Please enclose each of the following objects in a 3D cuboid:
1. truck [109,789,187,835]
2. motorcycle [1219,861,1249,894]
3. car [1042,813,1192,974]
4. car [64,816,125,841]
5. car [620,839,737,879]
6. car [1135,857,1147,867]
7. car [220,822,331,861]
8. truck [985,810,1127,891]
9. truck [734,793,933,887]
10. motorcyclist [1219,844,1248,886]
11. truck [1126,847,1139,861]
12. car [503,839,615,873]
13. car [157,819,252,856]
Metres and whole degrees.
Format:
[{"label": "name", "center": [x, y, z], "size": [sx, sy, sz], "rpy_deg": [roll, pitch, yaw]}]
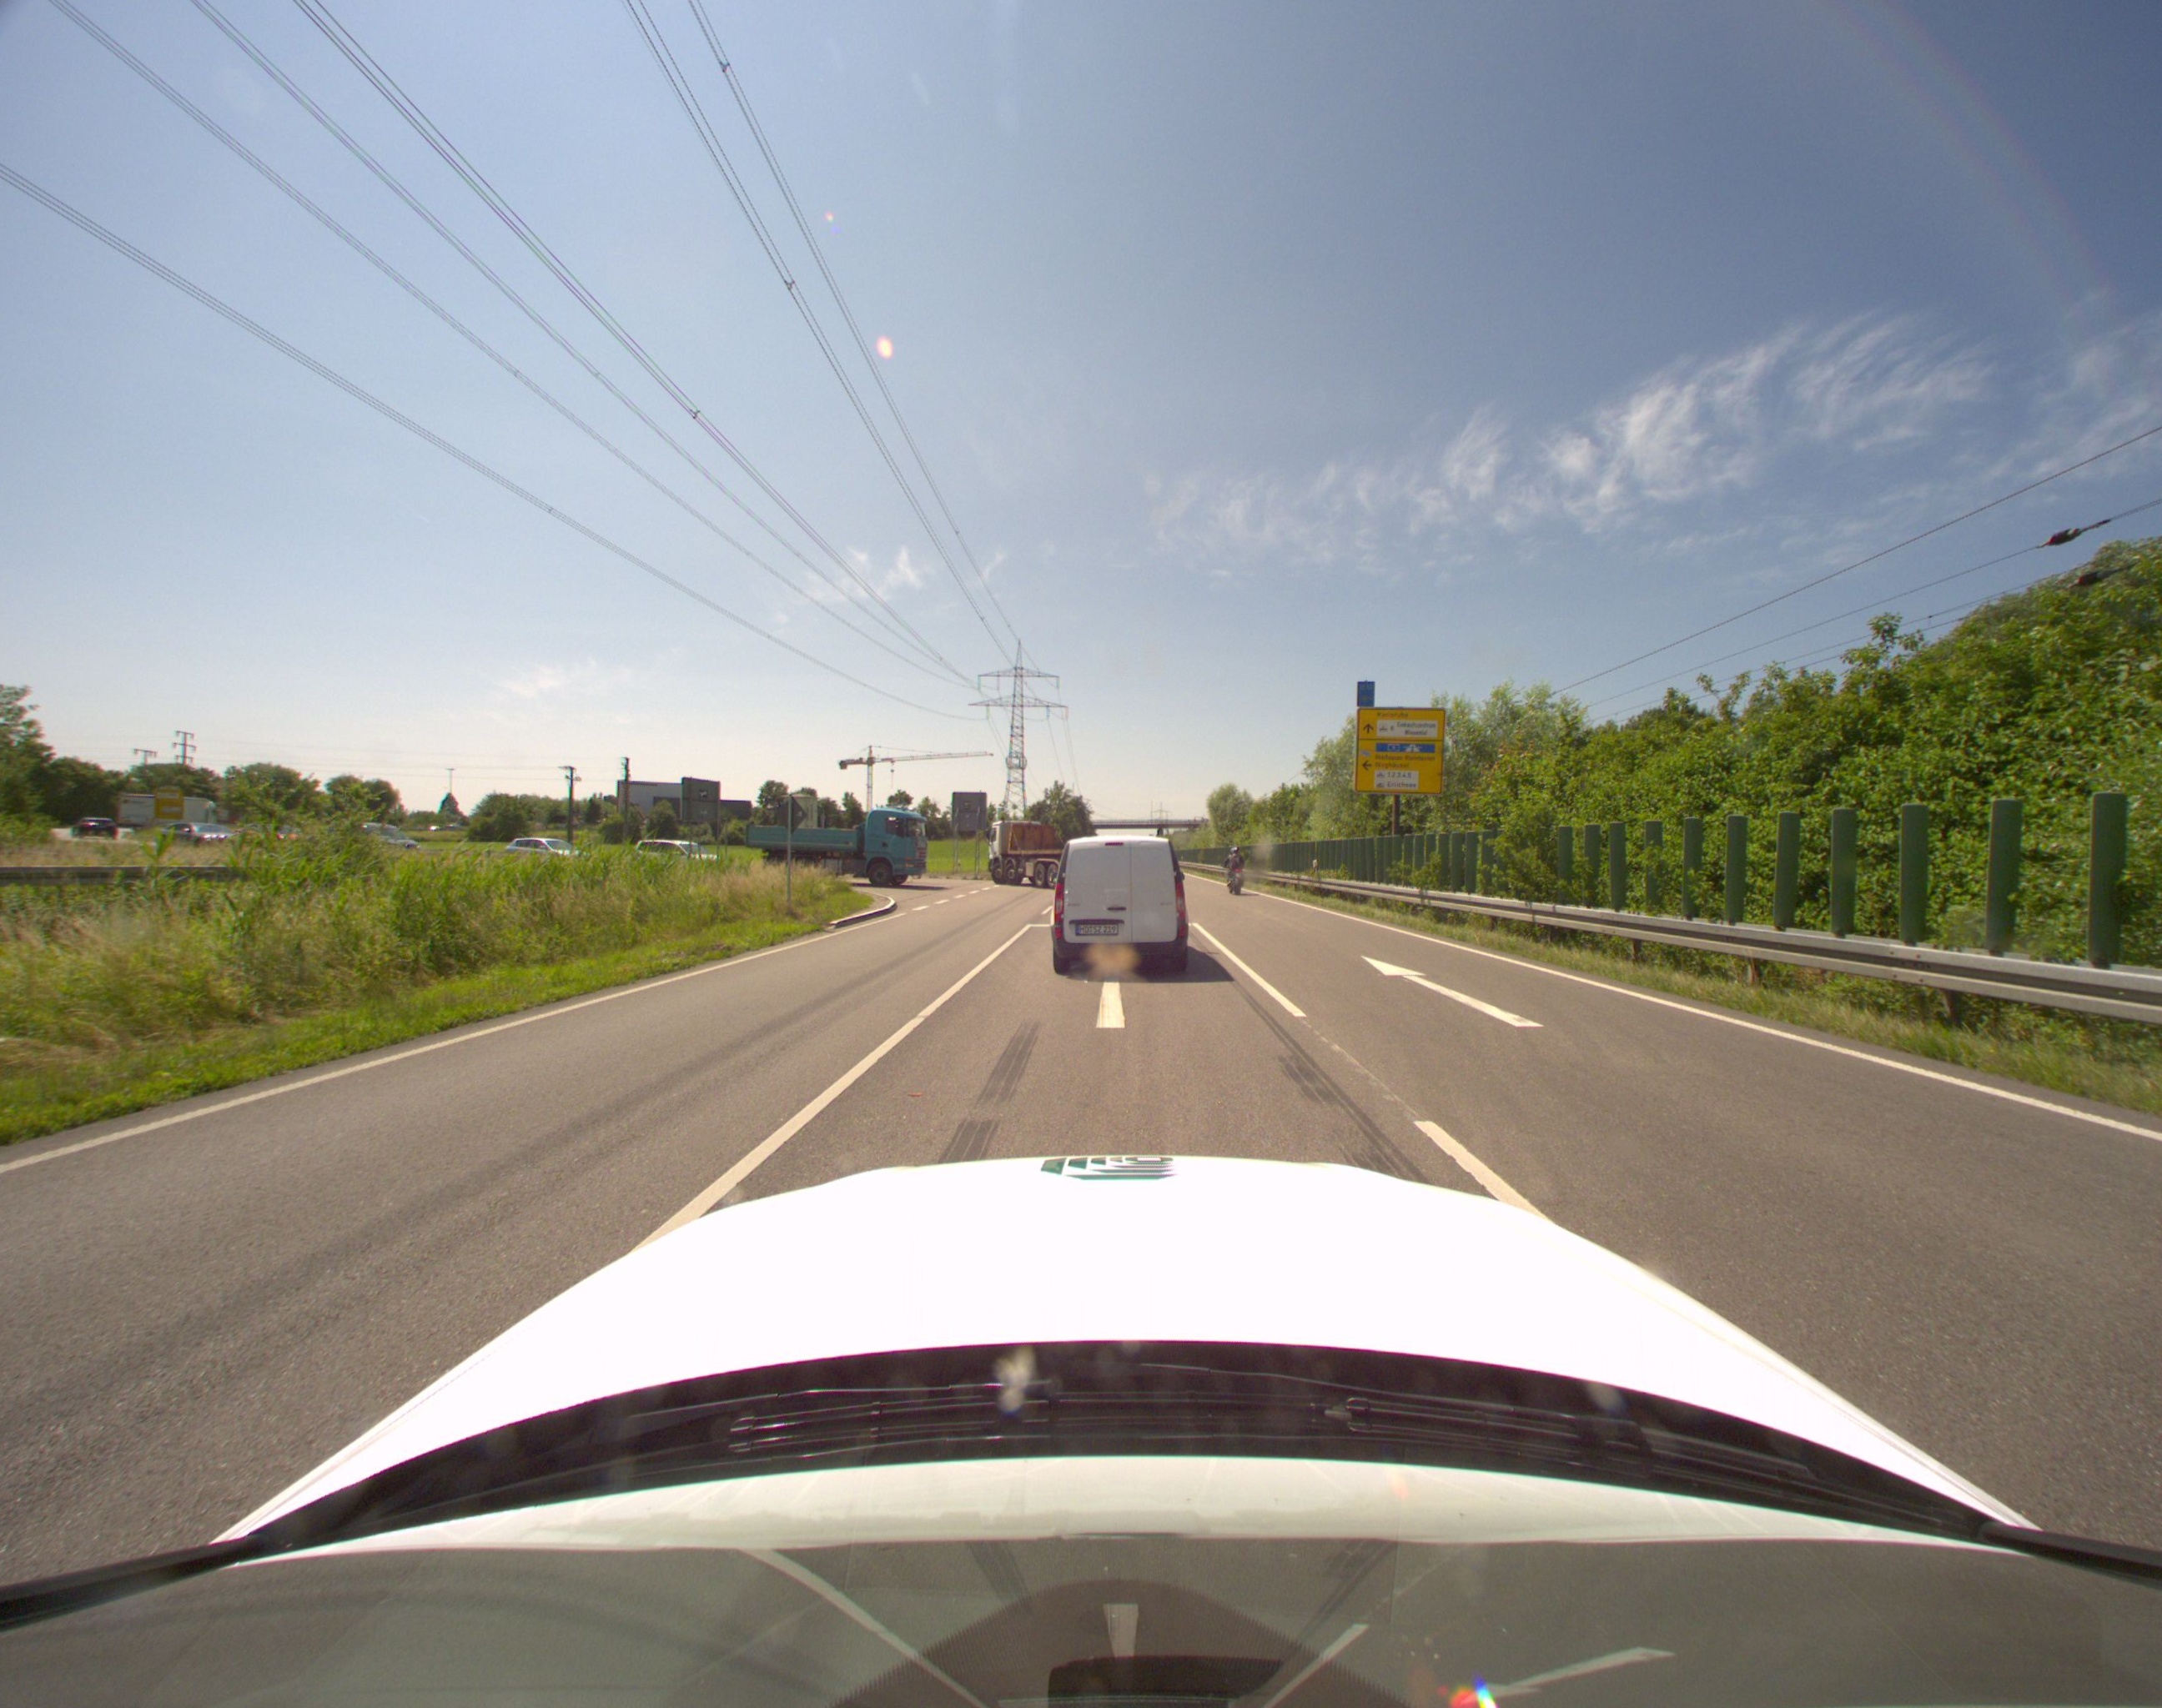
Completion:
[{"label": "truck", "center": [-103.167, -4.476, 90.310], "size": [3.709, 4.646, 13.085], "rpy_deg": [1, 0, -40]}, {"label": "motorcycle", "center": [5.575, 0.845, 29.823], "size": [0.787, 1.157, 1.902], "rpy_deg": [0, 0, 1]}, {"label": "car", "center": [0.523, 0.482, 12.050], "size": [1.820, 1.971, 4.002], "rpy_deg": [-1, 0, 2]}, {"label": "car", "center": [-72.749, -1.848, 60.055], "size": [3.950, 1.679, 2.012], "rpy_deg": [0, 0, 26]}, {"label": "car", "center": [-18.068, 0.196, 36.611], "size": [4.506, 1.612, 1.977], "rpy_deg": [1, 0, 17]}, {"label": "car", "center": [9.531, 1.238, 129.036], "size": [1.841, 1.574, 4.003], "rpy_deg": [-1, 0, 3]}, {"label": "car", "center": [-41.163, -0.646, 41.646], "size": [4.437, 1.849, 1.923], "rpy_deg": [1, 0, 13]}, {"label": "truck", "center": [-1.503, -0.208, 38.285], "size": [2.836, 3.288, 9.615], "rpy_deg": [0, 1, -27]}, {"label": "truck", "center": [-10.808, -0.613, 35.989], "size": [7.867, 3.734, 2.501], "rpy_deg": [2, 0, 4]}, {"label": "motorcyclist", "center": [5.549, 0.393, 29.621], "size": [0.886, 1.476, 1.002], "rpy_deg": [0, 0, 1]}, {"label": "truck", "center": [10.213, 0.060, 162.727], "size": [2.365, 2.689, 8.014], "rpy_deg": [1, 0, 2]}, {"label": "car", "center": [-24.148, 0.081, 37.694], "size": [4.401, 1.470, 1.724], "rpy_deg": [1, 0, 13]}, {"label": "car", "center": [-46.670, -0.867, 43.375], "size": [3.959, 1.901, 1.665], "rpy_deg": [0, 0, 13]}]
